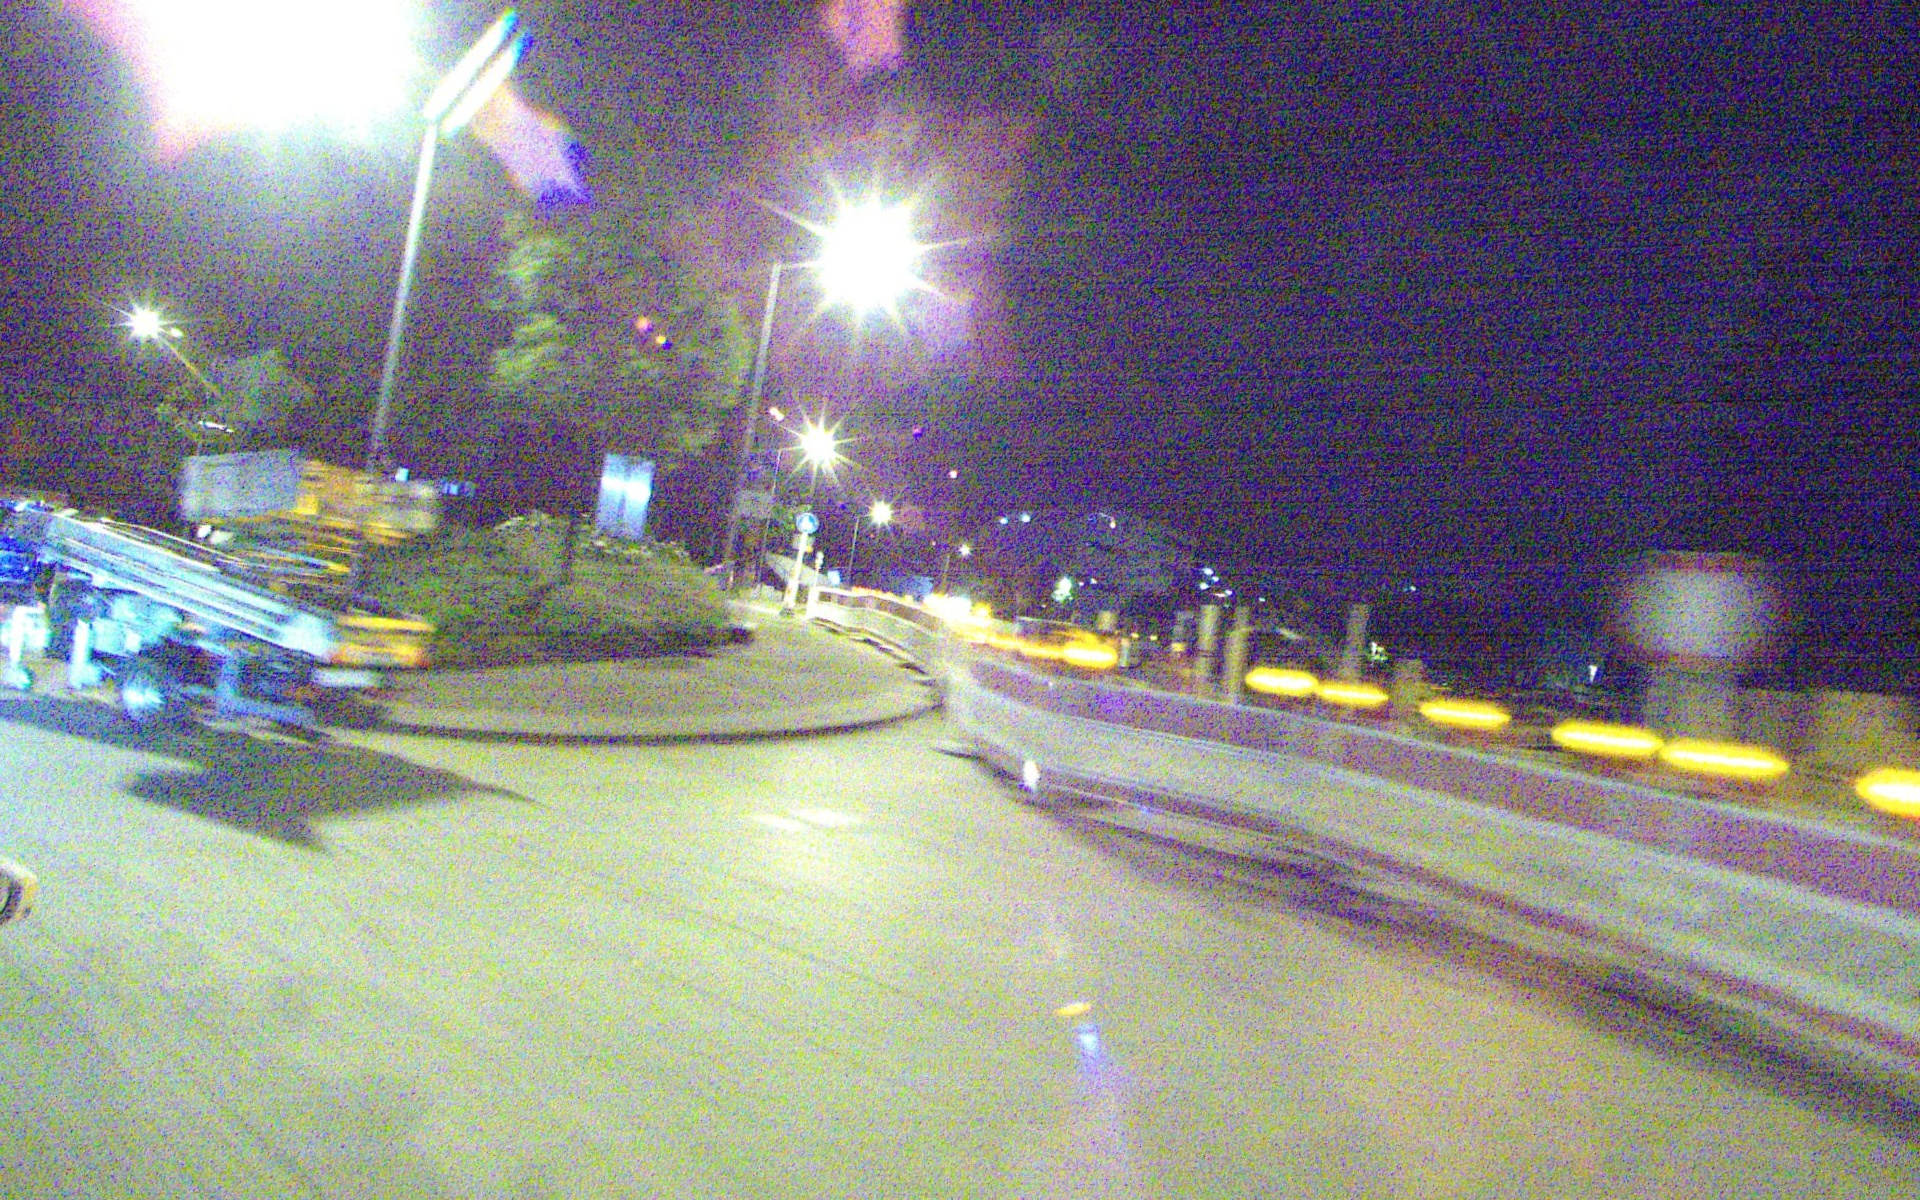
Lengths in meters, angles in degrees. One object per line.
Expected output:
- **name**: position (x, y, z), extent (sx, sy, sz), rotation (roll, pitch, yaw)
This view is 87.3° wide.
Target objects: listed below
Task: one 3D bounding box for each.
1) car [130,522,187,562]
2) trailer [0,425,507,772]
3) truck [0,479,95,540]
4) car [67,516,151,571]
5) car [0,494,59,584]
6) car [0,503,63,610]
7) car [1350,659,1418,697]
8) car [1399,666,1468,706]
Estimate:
- **car**: position (-44.577, -3.167, 56.039), extent (1.710, 1.840, 3.970), rotation (10, -3, -30)
- **trailer**: position (-6.619, -0.147, 8.491), extent (5.123, 2.187, 1.565), rotation (7, 0, 16)
- **truck**: position (-63.779, -6.185, 70.173), extent (1.975, 3.441, 8.934), rotation (10, -2, -22)
- **car**: position (-34.636, -2.255, 41.048), extent (1.710, 1.840, 3.970), rotation (10, -3, -30)
- **car**: position (-22.602, -1.535, 23.618), extent (3.948, 1.840, 1.719), rotation (6, -4, 45)
- **car**: position (-17.573, -0.932, 18.105), extent (3.948, 1.679, 1.719), rotation (6, -4, 45)
- **car**: position (21.263, 3.925, 50.367), extent (1.971, 1.437, 3.986), rotation (9, -1, 39)
- **car**: position (22.787, 4.130, 48.331), extent (1.971, 1.437, 3.986), rotation (9, -1, 39)
